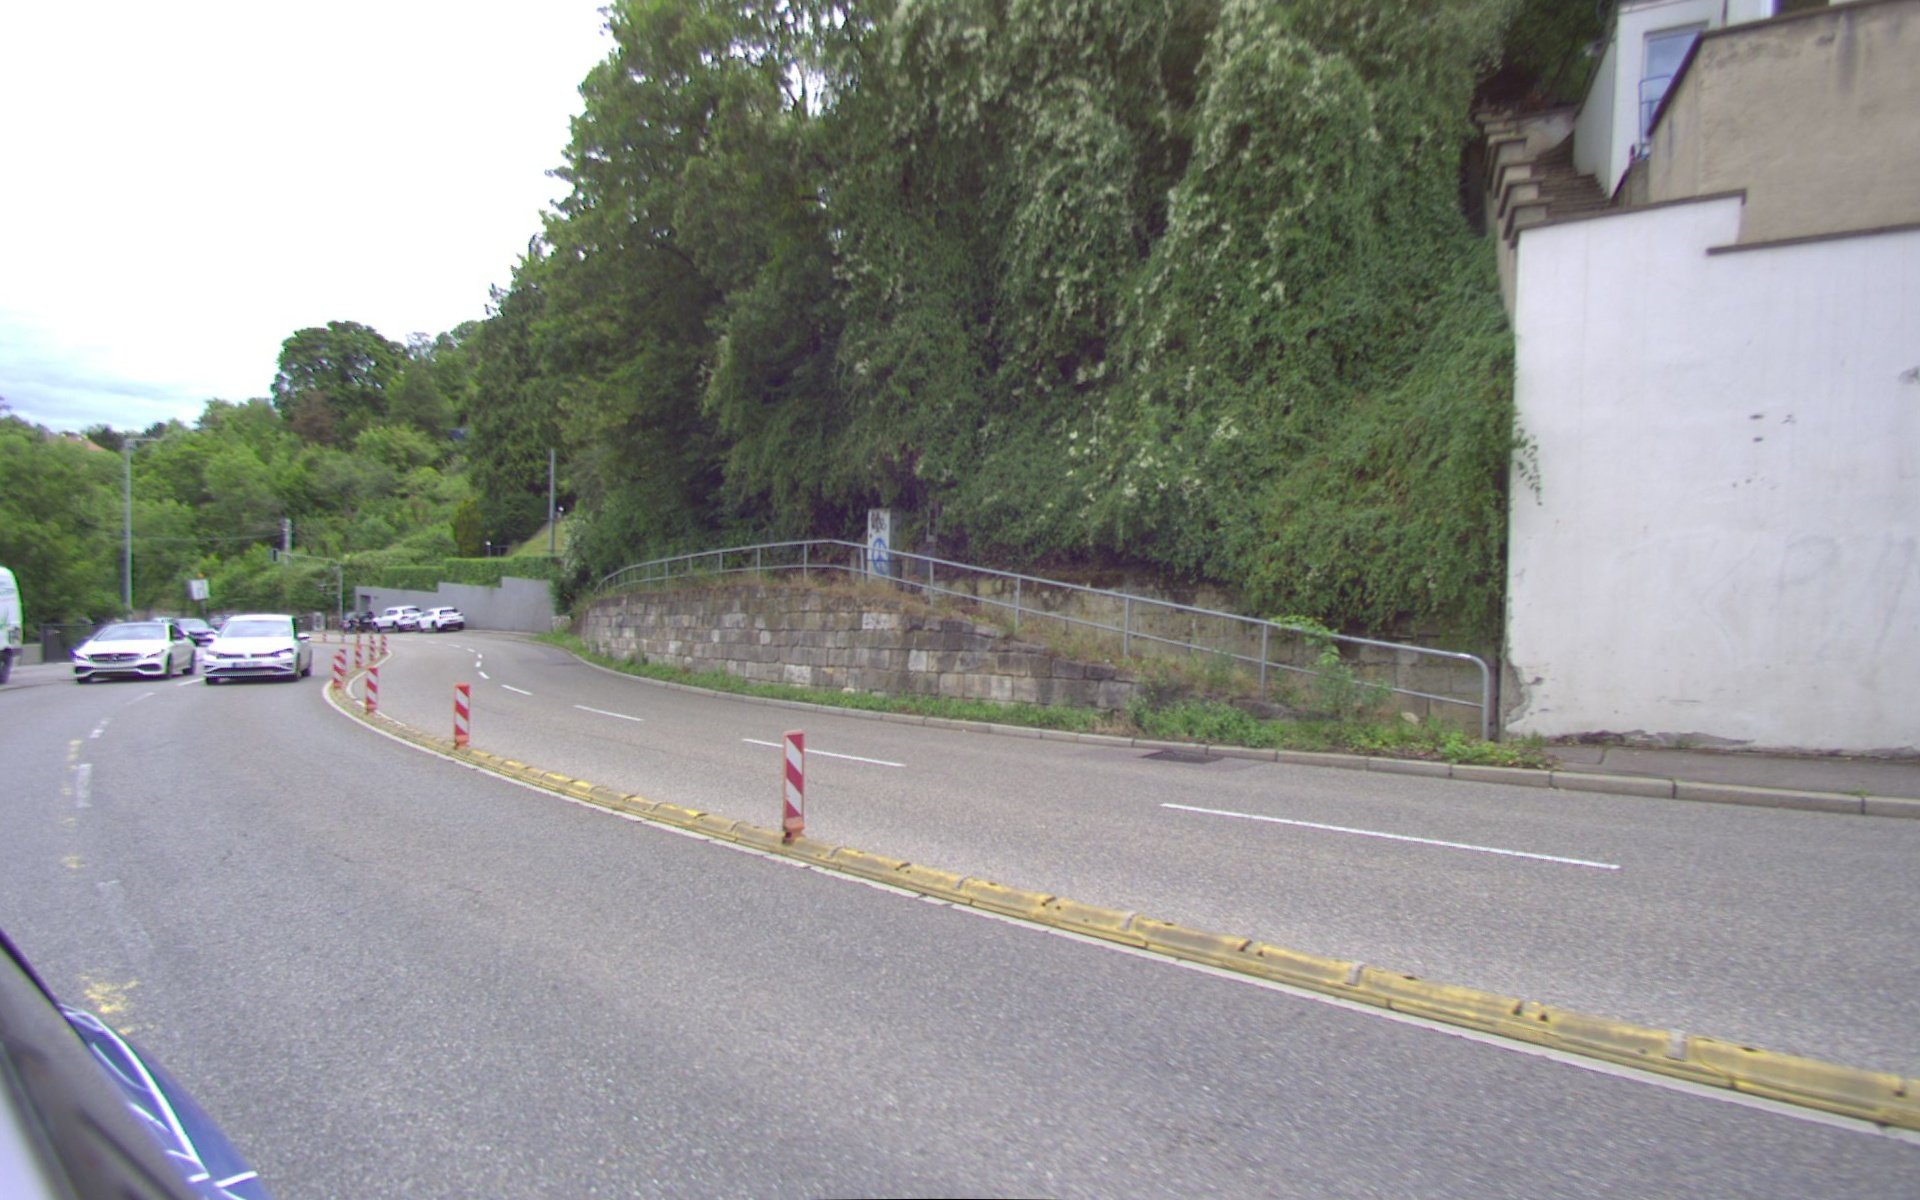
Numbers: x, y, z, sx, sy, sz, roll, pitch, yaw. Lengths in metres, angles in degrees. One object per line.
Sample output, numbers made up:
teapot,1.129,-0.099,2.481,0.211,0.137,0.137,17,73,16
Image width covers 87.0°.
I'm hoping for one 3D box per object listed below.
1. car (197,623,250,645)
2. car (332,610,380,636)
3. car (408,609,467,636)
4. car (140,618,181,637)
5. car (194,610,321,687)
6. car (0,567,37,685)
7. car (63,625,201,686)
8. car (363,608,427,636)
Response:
car,-57.029,2.604,78.370,4.188,1.609,1.700,-1,1,29
car,-42.859,1.635,71.789,2.948,1.584,1.698,-2,3,33
car,-33.942,1.444,65.720,4.473,1.584,1.814,-1,2,41
car,-66.822,2.322,84.548,3.652,1.477,1.697,-2,1,35
car,-16.479,1.068,23.944,1.854,1.590,4.013,0,0,-26
car,-21.267,0.520,20.587,2.055,2.543,5.863,2,-2,-27
car,-20.458,1.331,25.182,1.768,1.316,4.113,-1,-1,-27
car,-38.643,1.525,69.151,4.749,1.744,1.844,-1,2,34
